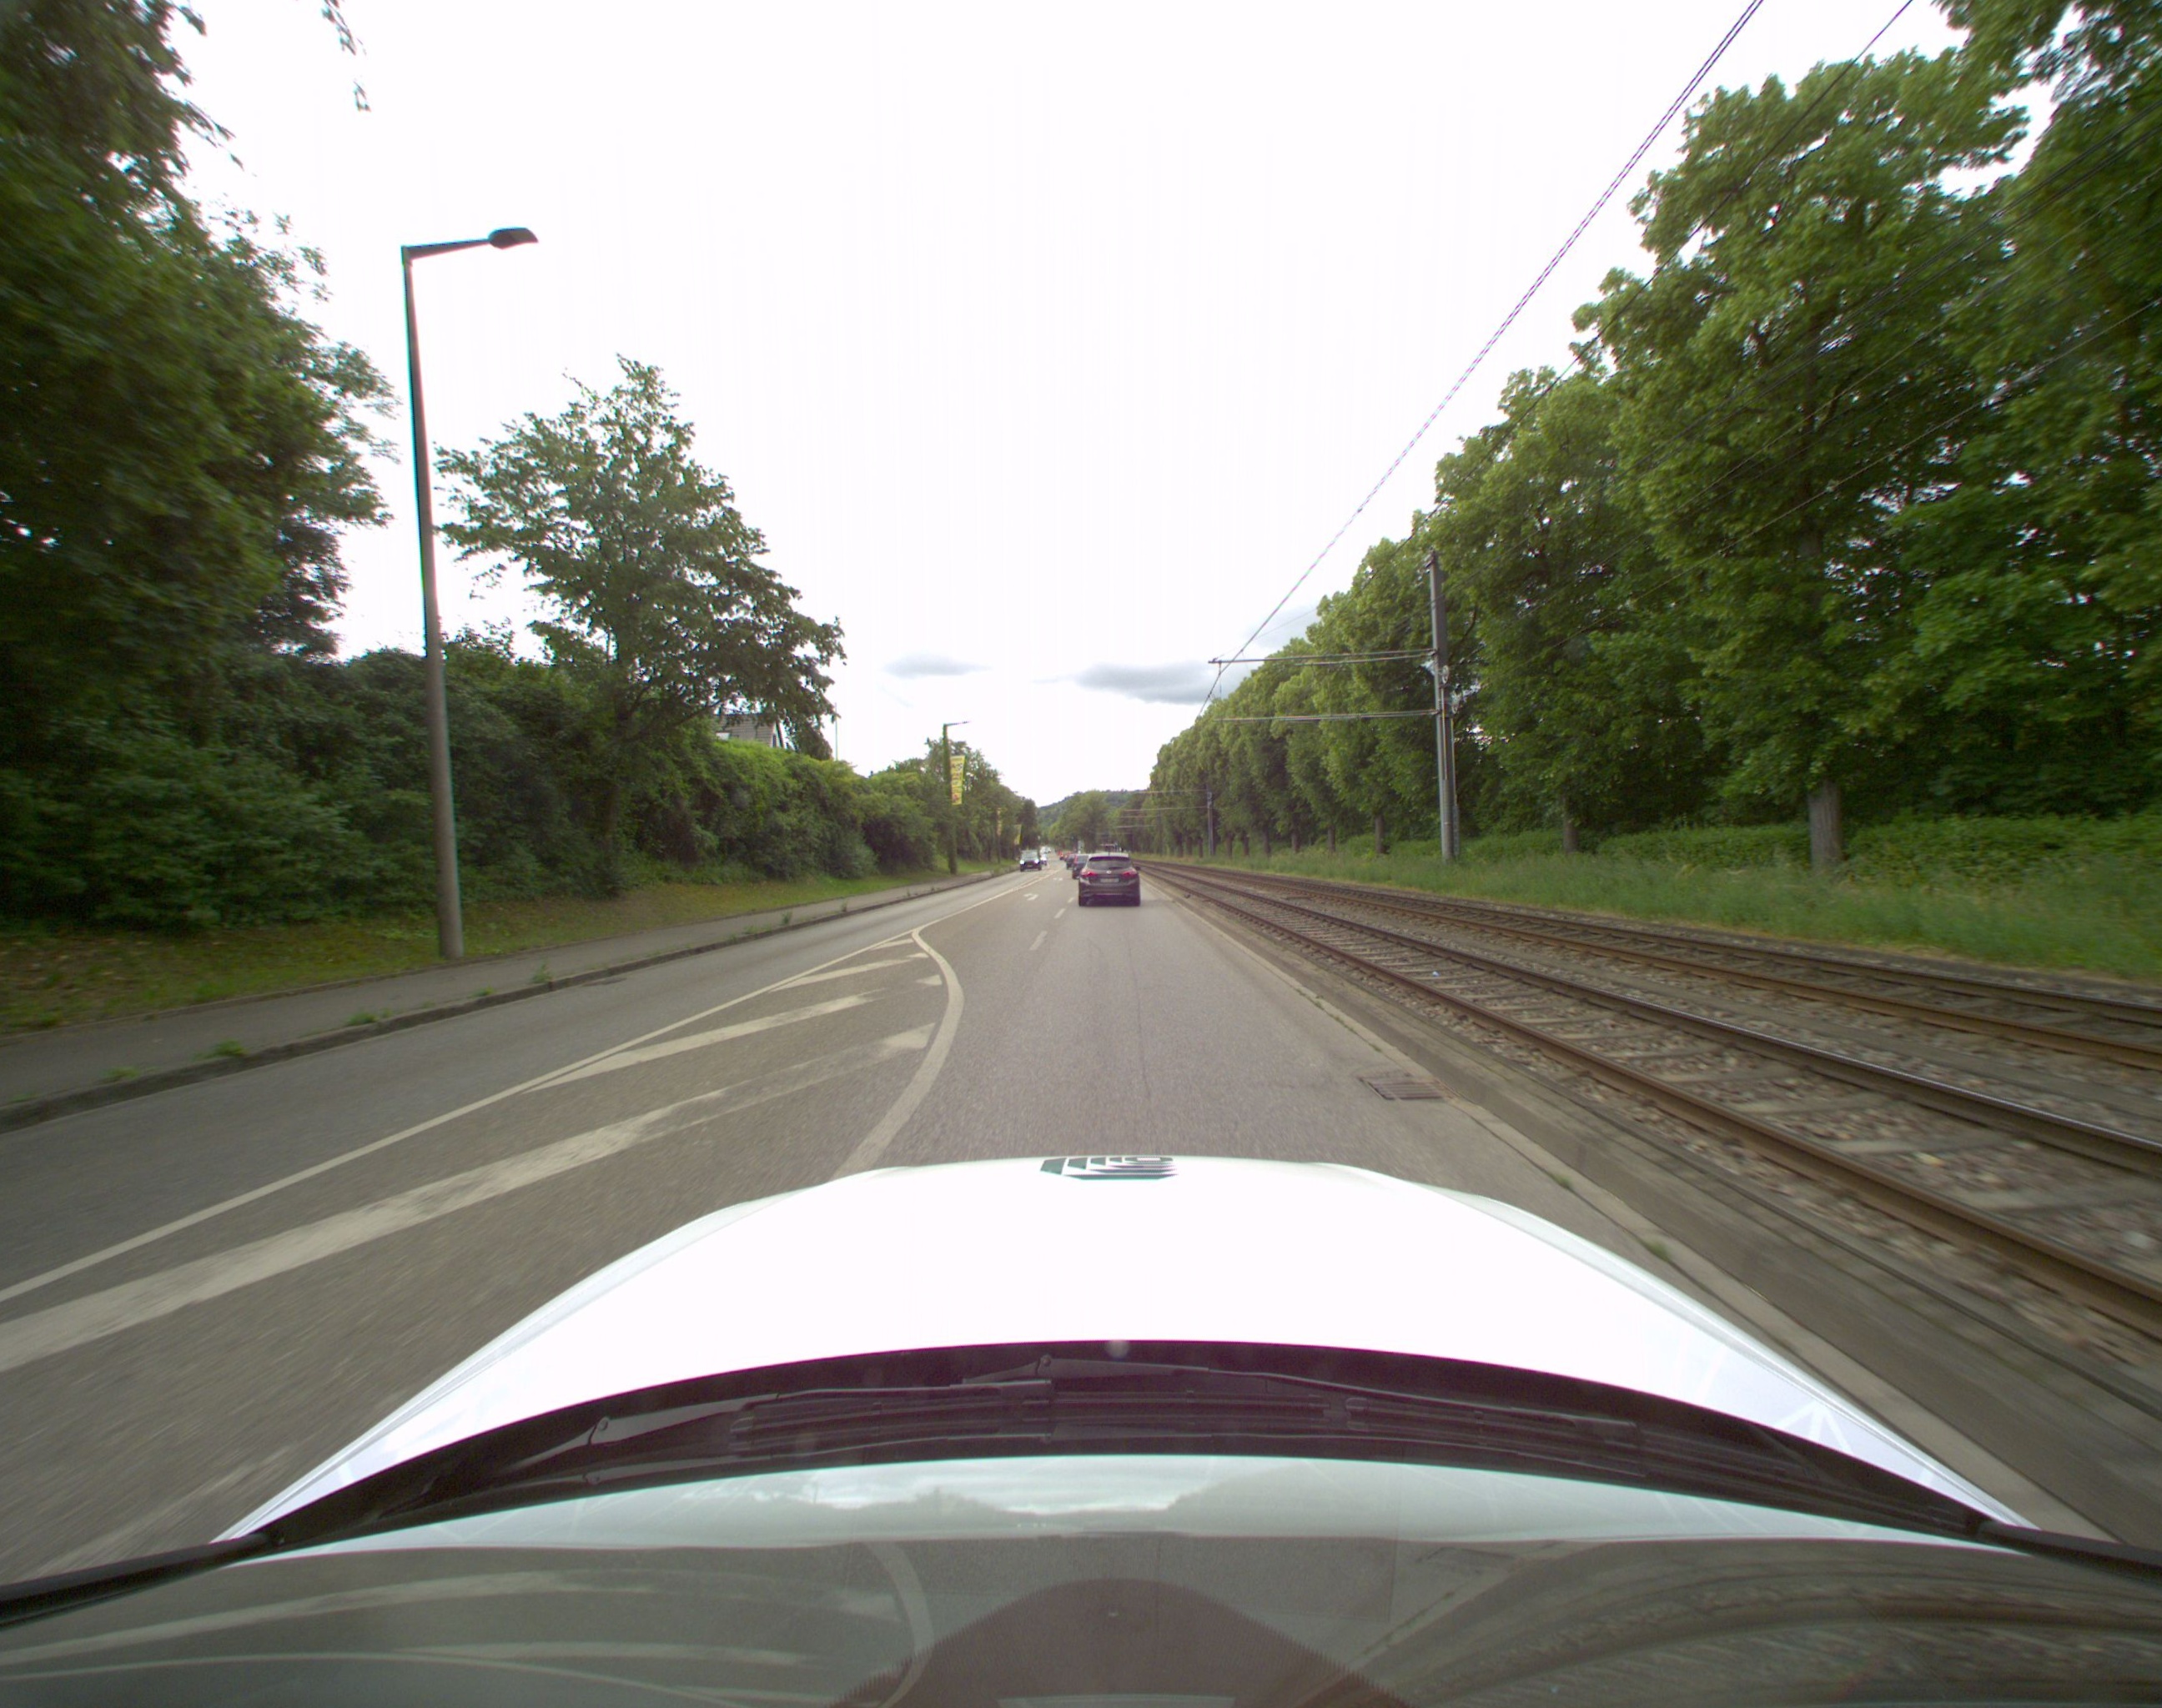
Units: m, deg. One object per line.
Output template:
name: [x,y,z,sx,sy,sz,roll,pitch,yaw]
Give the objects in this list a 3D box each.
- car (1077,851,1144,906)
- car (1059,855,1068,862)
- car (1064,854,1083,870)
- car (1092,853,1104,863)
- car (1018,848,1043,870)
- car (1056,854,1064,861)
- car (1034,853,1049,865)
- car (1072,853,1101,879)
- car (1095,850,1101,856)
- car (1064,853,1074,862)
car: [0.884,0.679,24.431,1.843,1.493,4.002,-1,0,2]
car: [-4.010,1.045,185.671,1.693,1.714,4.002,-1,0,2]
car: [-0.721,0.742,77.854,1.694,1.443,3.999,-1,0,0]
car: [2.548,0.620,121.163,1.709,1.550,4.000,-1,-1,0]
car: [-4.970,0.475,80.329,1.987,2.036,5.115,-3,0,0]
car: [-4.959,0.762,195.310,1.693,1.714,4.002,-1,0,2]
car: [-5.653,0.689,115.633,1.836,1.620,4.158,-3,0,0]
car: [0.358,0.699,49.156,1.694,1.443,4.001,-1,0,1]
car: [5.235,-0.272,251.986,1.710,1.663,3.705,-1,-1,-2]
car: [-2.275,0.671,154.445,1.787,1.510,4.002,-1,0,2]
